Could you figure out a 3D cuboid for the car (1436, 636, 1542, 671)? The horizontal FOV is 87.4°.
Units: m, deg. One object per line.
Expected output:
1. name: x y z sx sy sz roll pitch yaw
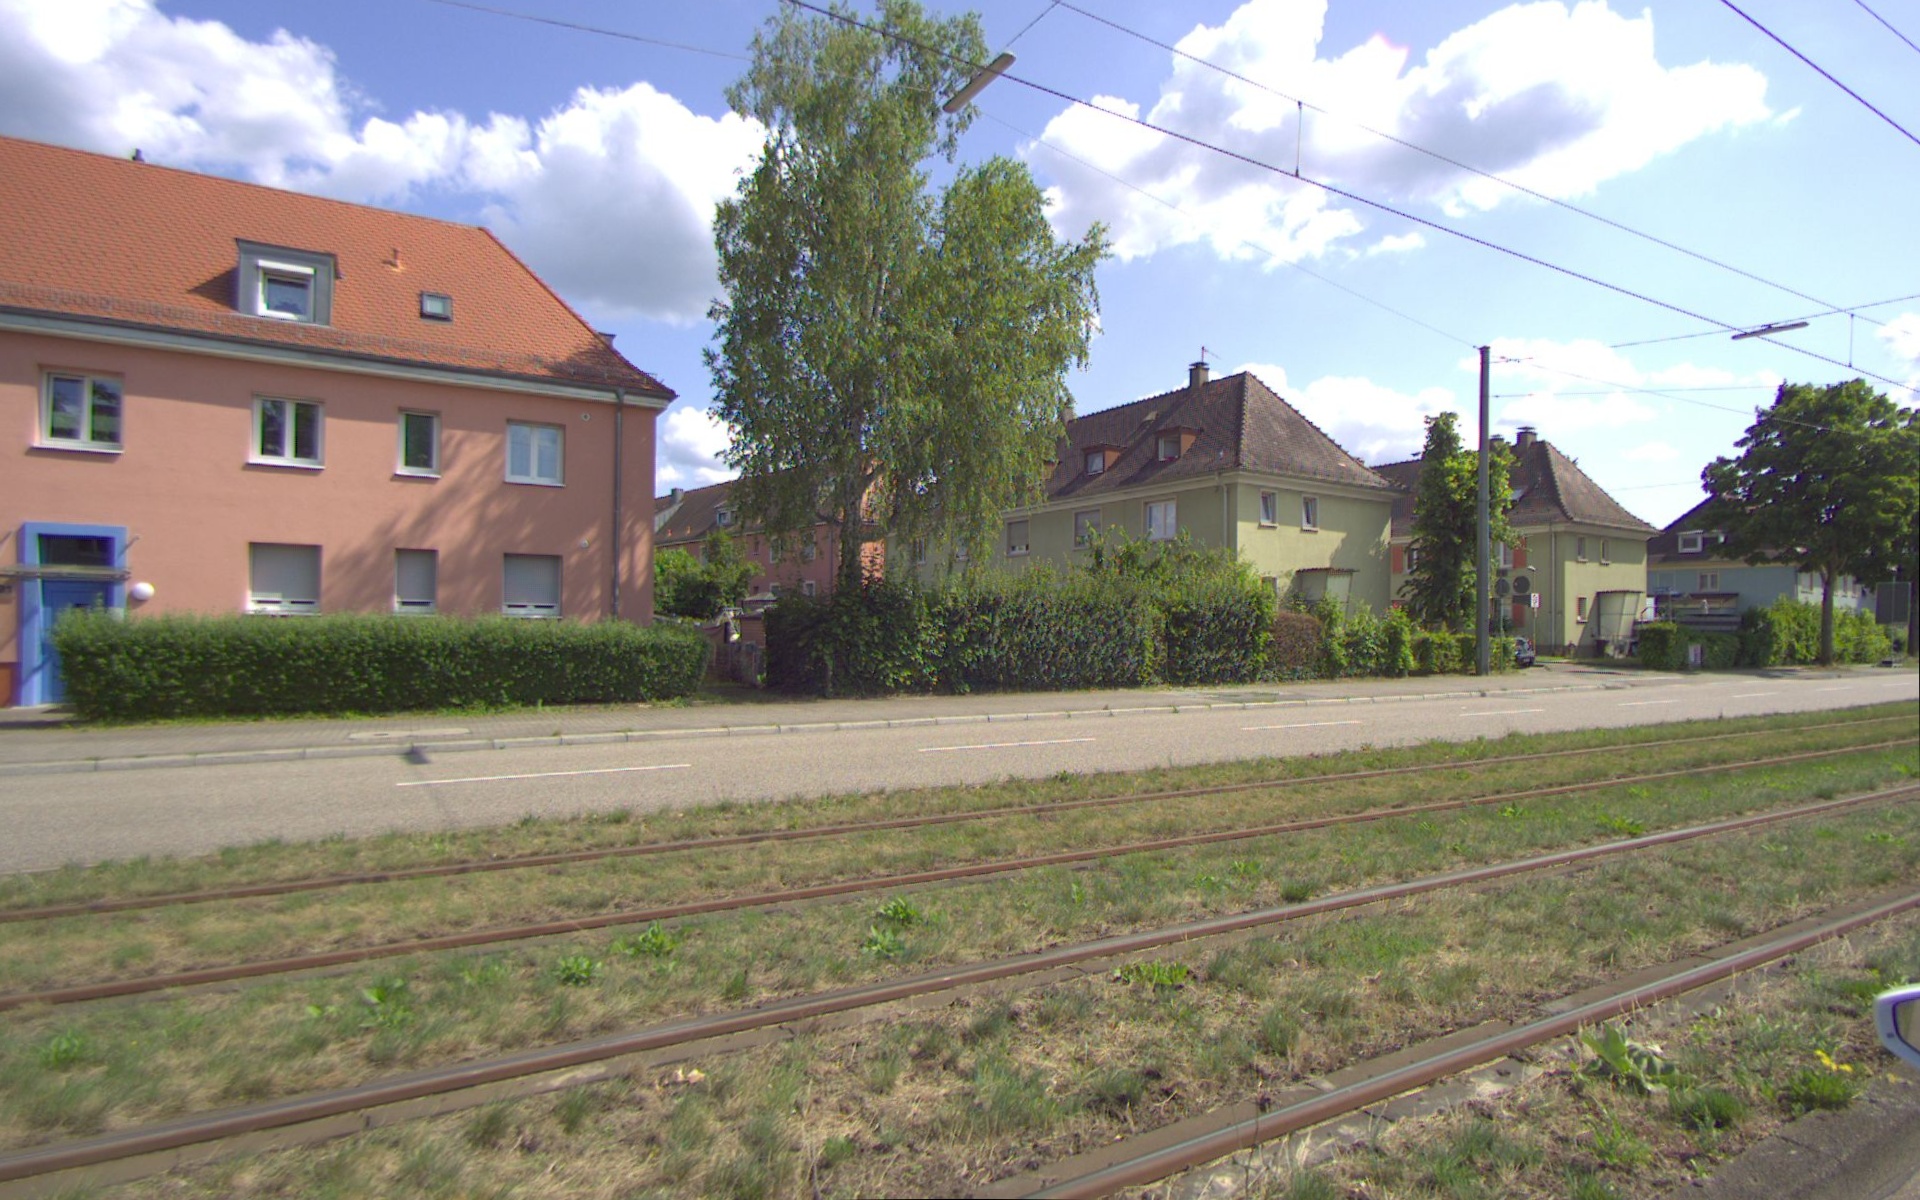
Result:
1. car: 23.392 2.341 44.490 1.874 1.487 3.719 1 -2 -33
